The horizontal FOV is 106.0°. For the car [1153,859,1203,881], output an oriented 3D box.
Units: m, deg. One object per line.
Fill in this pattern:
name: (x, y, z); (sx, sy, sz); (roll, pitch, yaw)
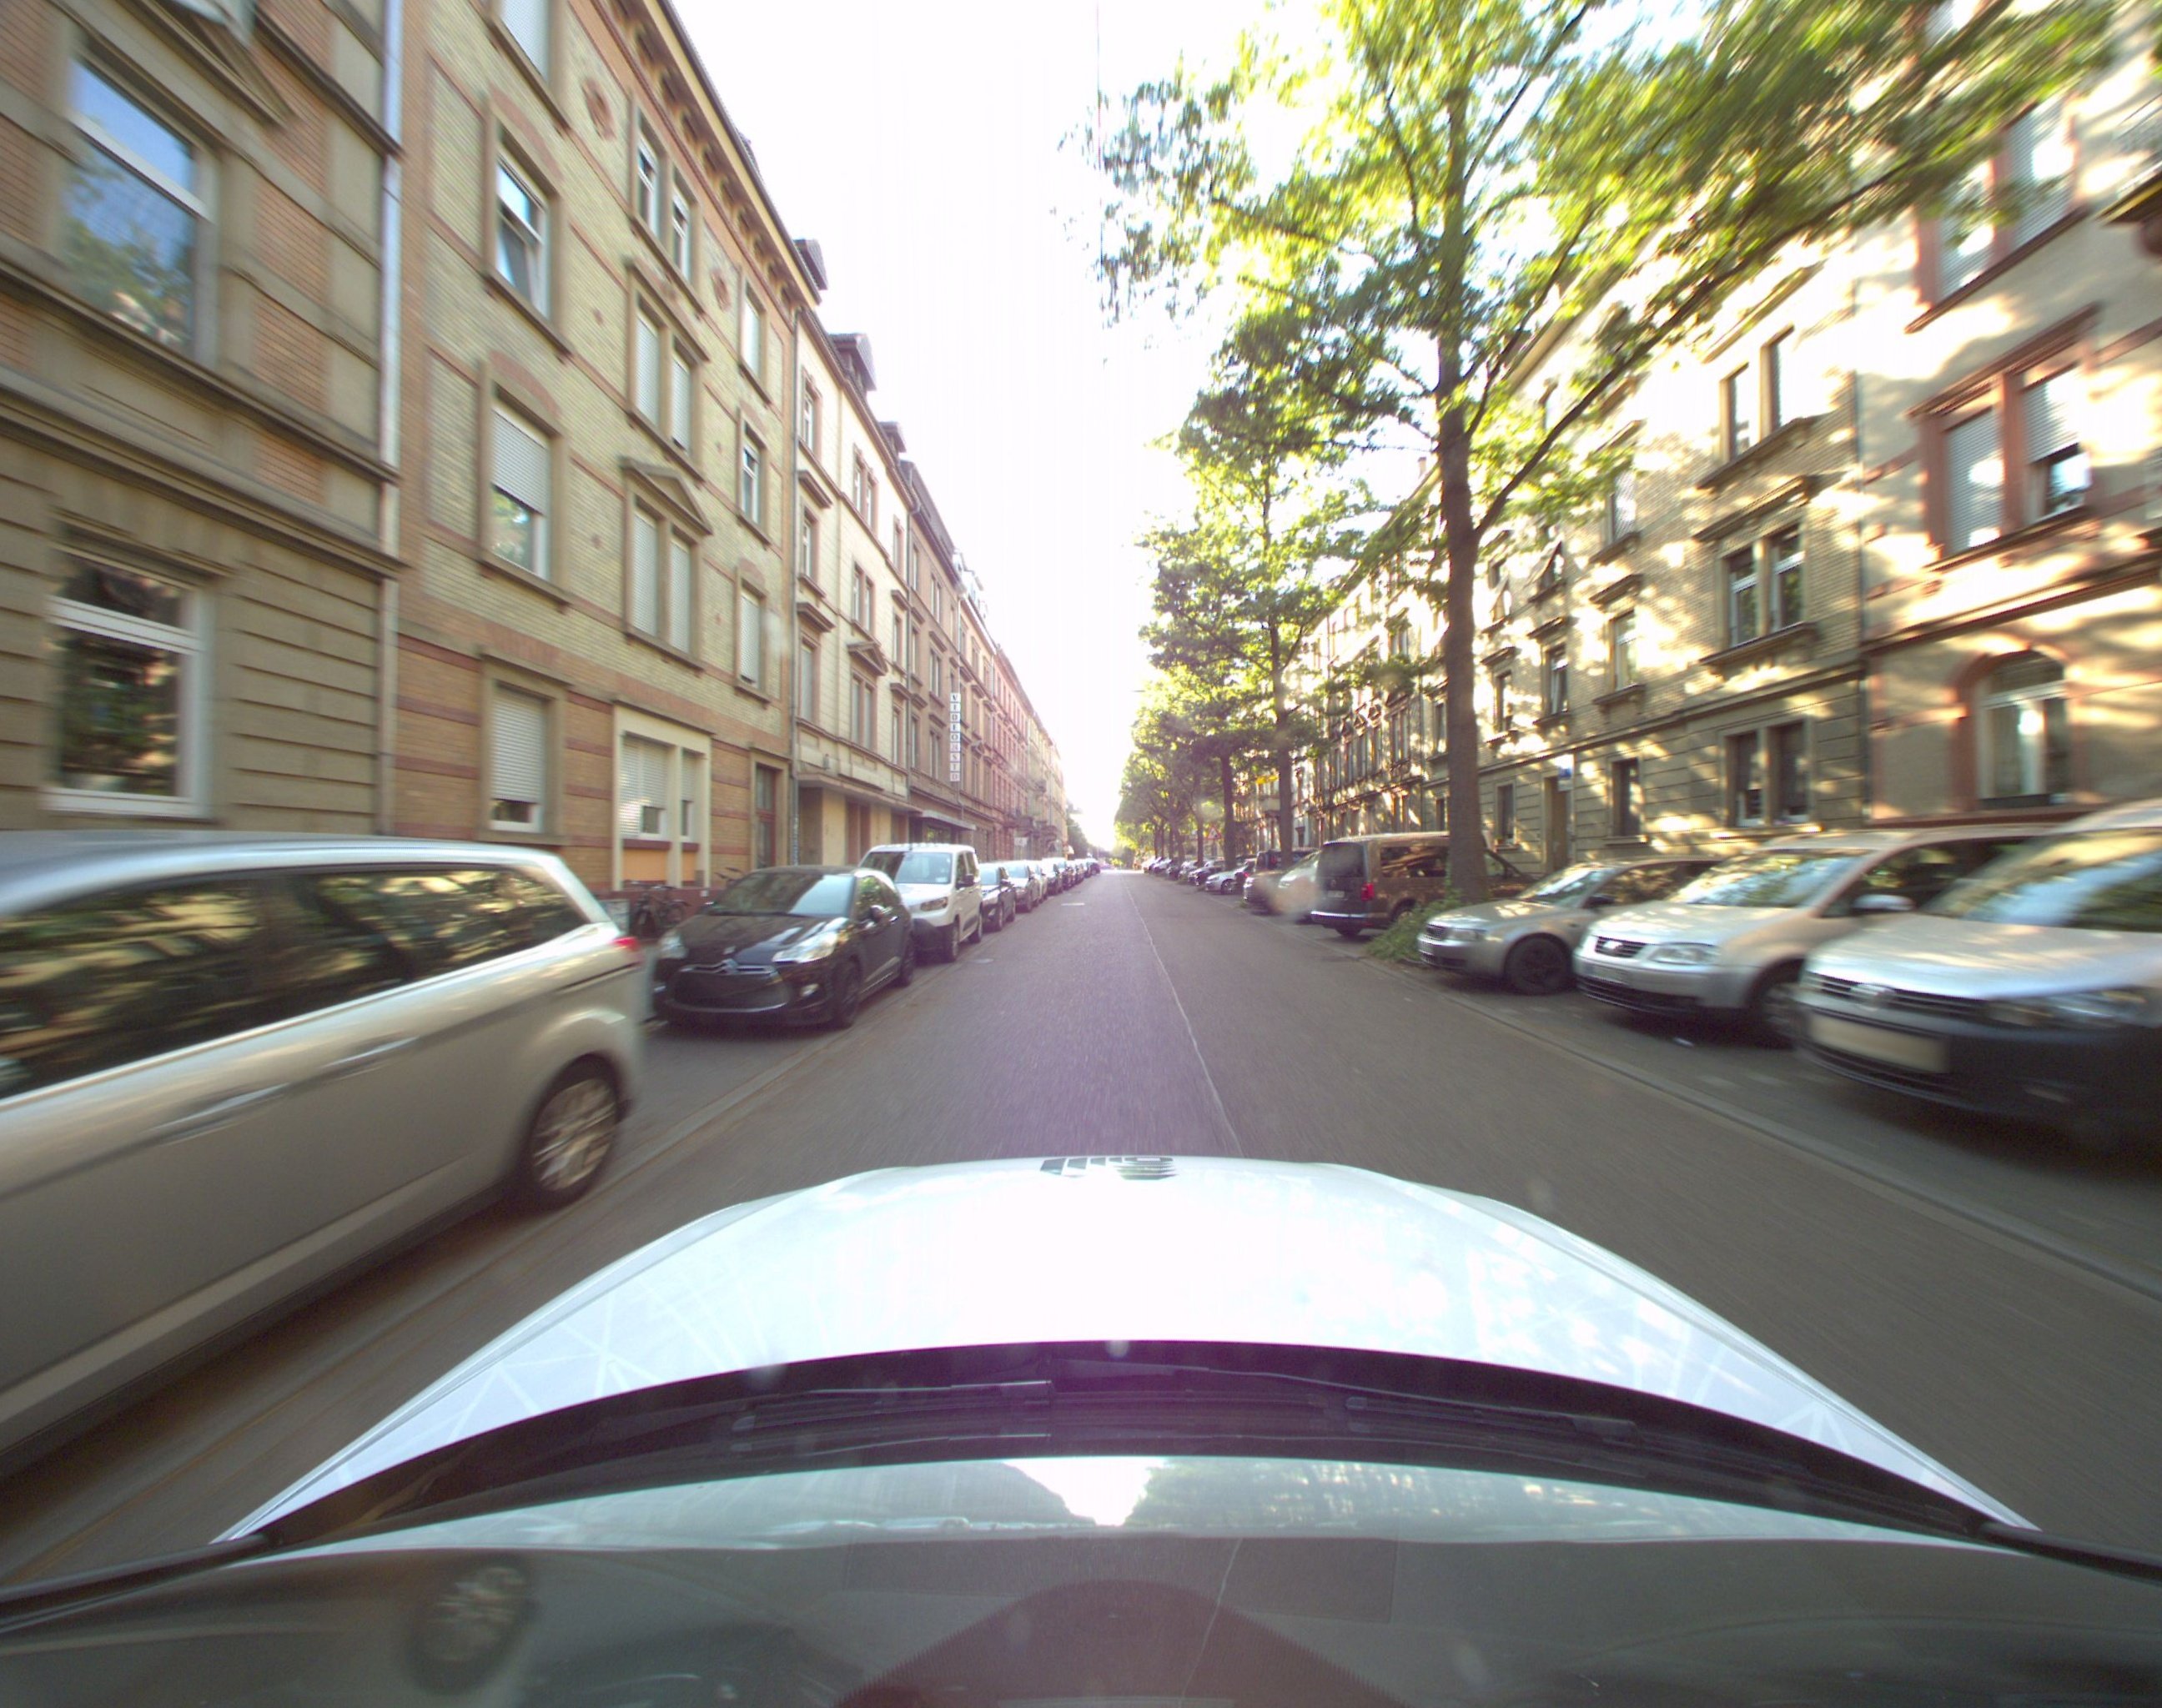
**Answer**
car: (7.815, 1.262, 66.010); (3.836, 1.574, 1.718); (-3, -1, 1)

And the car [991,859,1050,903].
car: (-2.128, 0.922, 29.708); (1.752, 1.473, 4.059); (-1, 0, 1)

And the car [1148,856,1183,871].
car: (9.636, 1.080, 93.476); (3.836, 1.574, 1.718); (-3, -1, 1)

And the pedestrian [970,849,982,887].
pedestrian: (-5.150, 0.680, 39.854); (0.497, 1.862, 0.463); (0, -1, 1)

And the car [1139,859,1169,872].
car: (9.803, 1.497, 108.941); (3.836, 1.574, 1.718); (-3, -1, 1)

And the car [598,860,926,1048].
car: (-2.923, 0.811, 8.497); (1.752, 1.467, 4.000); (1, 0, 1)

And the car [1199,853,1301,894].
car: (7.021, 0.807, 34.100); (3.839, 1.479, 1.717); (-3, -1, -2)

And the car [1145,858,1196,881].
car: (7.036, 1.211, 64.002); (3.835, 1.574, 1.719); (-3, -1, 2)

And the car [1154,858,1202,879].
car: (8.153, 1.197, 68.706); (3.836, 1.574, 1.718); (-3, -1, 1)

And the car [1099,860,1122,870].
car: (5.529, 2.130, 152.423); (3.962, 1.859, 1.756); (0, -1, 10)

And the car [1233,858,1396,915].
car: (6.165, 0.843, 21.779); (3.839, 1.294, 1.717); (-3, -1, -2)

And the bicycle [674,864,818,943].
bicycle: (-6.299, 0.854, 15.748); (1.038, 1.318, 4.001); (0, 0, 2)

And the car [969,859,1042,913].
car: (-2.224, 0.916, 24.838); (1.752, 1.473, 4.059); (-1, 0, 1)

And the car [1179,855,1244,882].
car: (8.588, 0.972, 53.771); (3.845, 1.574, 1.714); (-3, -1, -6)

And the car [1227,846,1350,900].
car: (7.276, 0.662, 28.834); (3.839, 1.699, 1.717); (-3, -1, -2)

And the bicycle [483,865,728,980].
bicycle: (-6.479, 0.837, 11.616); (1.038, 1.318, 4.001); (0, 0, 2)

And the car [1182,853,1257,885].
car: (7.890, 0.846, 46.452); (3.845, 1.574, 1.714); (-3, -1, -6)

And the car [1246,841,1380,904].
car: (7.503, 0.580, 26.564); (3.839, 1.797, 1.717); (-3, -1, -2)

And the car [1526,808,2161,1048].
car: (6.474, 0.545, 7.072); (4.211, 1.611, 1.833); (-3, -1, -3)

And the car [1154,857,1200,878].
car: (8.356, 1.176, 71.285); (3.836, 1.574, 1.718); (-3, -1, 1)

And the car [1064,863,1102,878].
car: (0.268, 1.688, 83.877); (1.974, 1.486, 4.025); (-3, -3, 34)

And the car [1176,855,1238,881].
car: (8.703, 0.981, 56.381); (3.845, 1.574, 1.714); (-3, -1, -6)

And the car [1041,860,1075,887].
car: (-1.299, 1.089, 47.208); (1.752, 1.473, 4.059); (-1, 0, 1)

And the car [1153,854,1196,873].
car: (8.722, 0.848, 76.178); (3.836, 1.574, 1.718); (-3, -1, 1)

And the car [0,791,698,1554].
car: (-3.112, 0.663, 2.356); (1.747, 1.608, 4.386); (1, -1, 2)

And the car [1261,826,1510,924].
car: (6.909, 0.471, 18.871); (5.038, 1.925, 1.836); (-3, -1, 1)

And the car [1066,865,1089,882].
car: (-0.290, 1.772, 73.350); (1.986, 1.486, 4.000); (-1, -2, 1)

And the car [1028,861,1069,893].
car: (-1.574, 1.122, 40.718); (1.752, 1.473, 4.059); (-1, 0, 1)

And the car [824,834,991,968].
car: (-2.683, 0.675, 13.690); (1.752, 1.842, 4.530); (-1, 0, 1)

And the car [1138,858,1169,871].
car: (9.502, 1.400, 106.484); (3.836, 1.574, 1.718); (-3, -1, 1)

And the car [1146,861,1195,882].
car: (7.252, 1.410, 66.120); (3.835, 1.574, 1.719); (-3, -1, 2)

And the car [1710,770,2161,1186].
car: (6.281, 0.459, 4.451); (4.206, 1.777, 1.835); (-3, -1, 0)

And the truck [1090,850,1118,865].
truck: (5.997, 0.935, 213.115); (7.275, 3.950, 2.411); (2, -1, -35)

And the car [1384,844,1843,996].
car: (6.009, 0.695, 9.540); (4.211, 1.403, 1.833); (-3, -1, -3)

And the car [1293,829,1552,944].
car: (6.317, 0.546, 15.166); (4.232, 1.795, 1.824); (-2, -1, -18)

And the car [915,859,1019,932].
car: (-2.494, 0.866, 18.739); (1.752, 1.473, 4.059); (-1, 0, 1)

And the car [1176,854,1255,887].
car: (7.243, 0.889, 44.059); (3.845, 1.574, 1.714); (-3, -1, -6)

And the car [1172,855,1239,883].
car: (7.812, 0.923, 51.386); (3.845, 1.574, 1.714); (-3, -1, -6)

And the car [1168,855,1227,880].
car: (8.304, 0.971, 58.428); (3.845, 1.574, 1.714); (-3, -1, -6)

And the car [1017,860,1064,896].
car: (-1.729, 1.007, 35.954); (1.752, 1.473, 4.059); (-1, 0, 1)

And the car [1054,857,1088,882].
car: (-0.615, 1.038, 53.222); (1.986, 1.486, 4.000); (-1, -2, 1)
